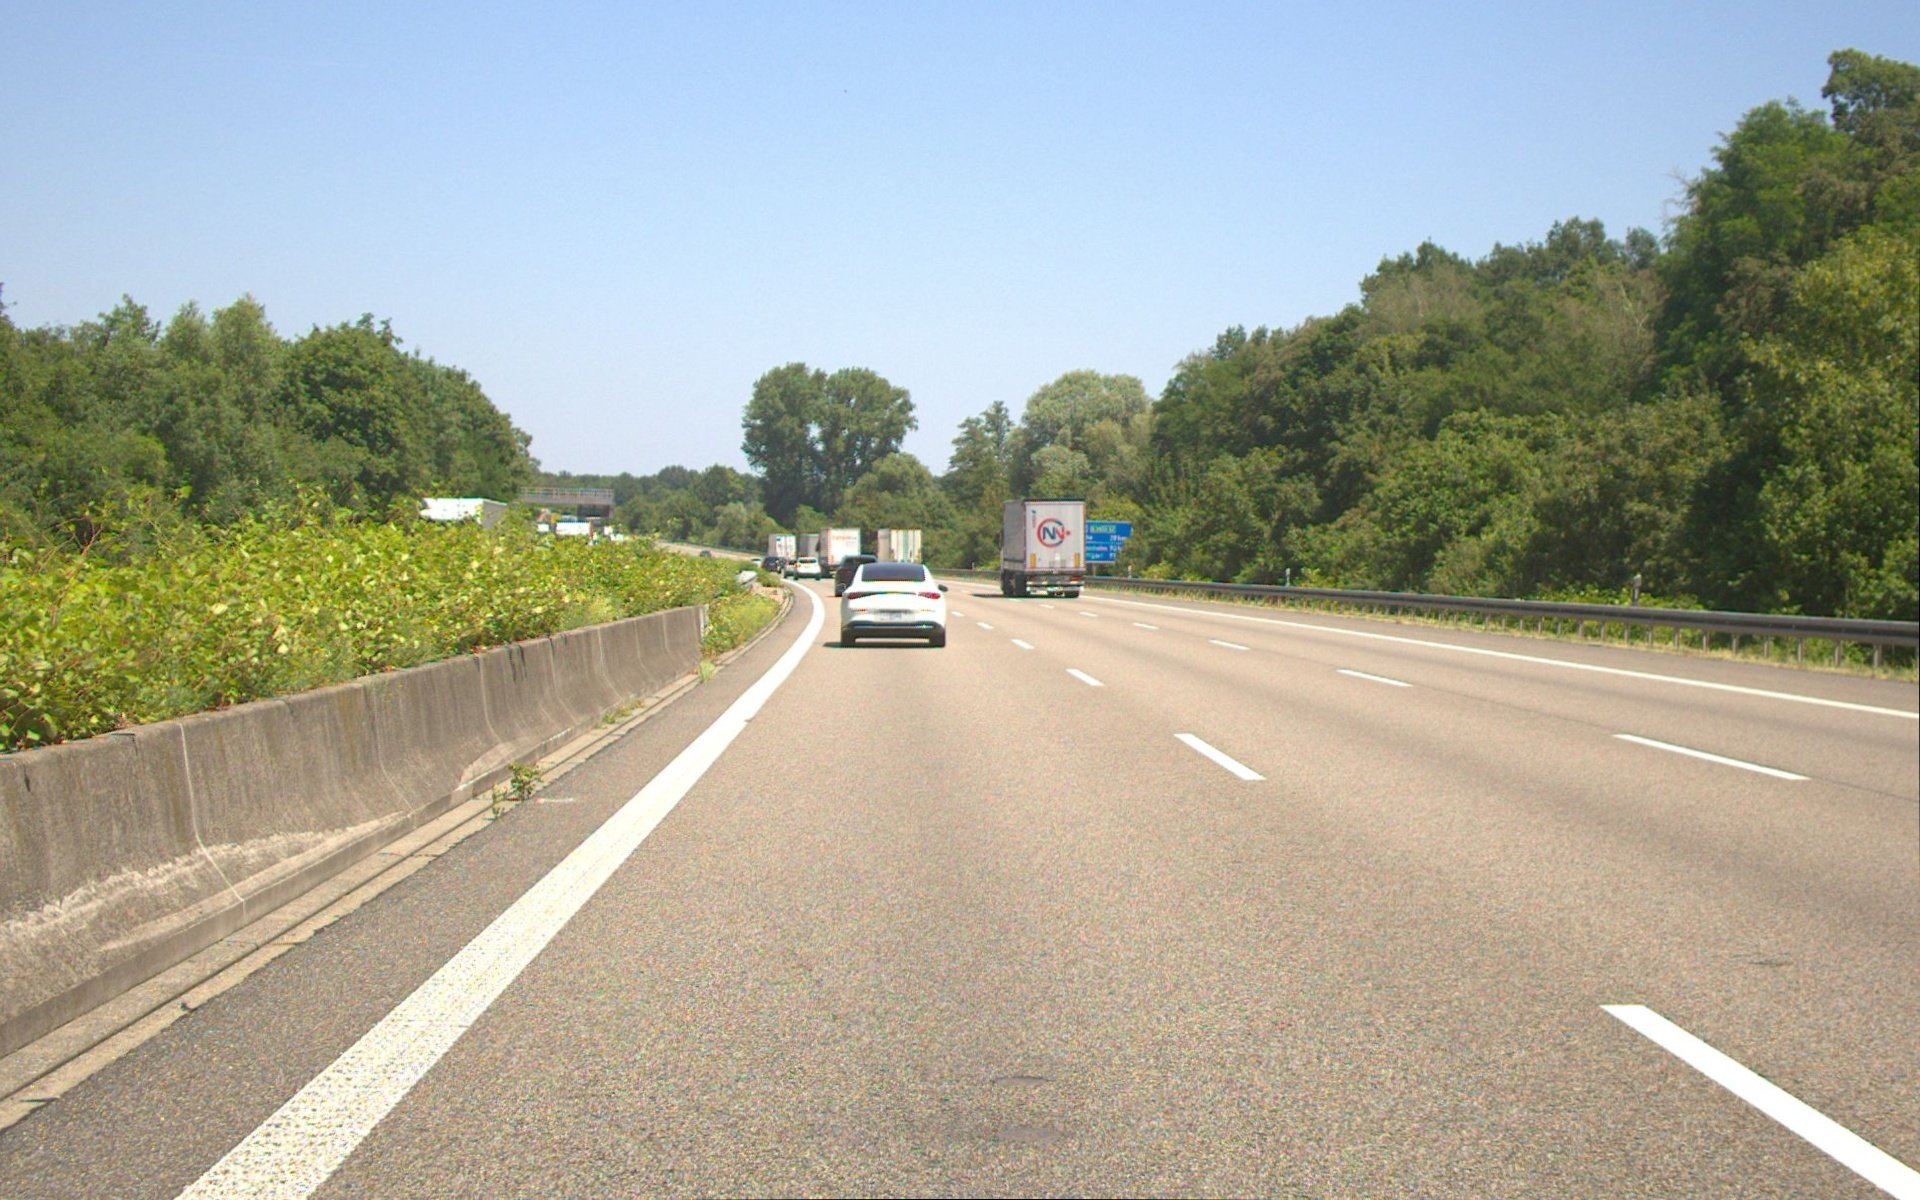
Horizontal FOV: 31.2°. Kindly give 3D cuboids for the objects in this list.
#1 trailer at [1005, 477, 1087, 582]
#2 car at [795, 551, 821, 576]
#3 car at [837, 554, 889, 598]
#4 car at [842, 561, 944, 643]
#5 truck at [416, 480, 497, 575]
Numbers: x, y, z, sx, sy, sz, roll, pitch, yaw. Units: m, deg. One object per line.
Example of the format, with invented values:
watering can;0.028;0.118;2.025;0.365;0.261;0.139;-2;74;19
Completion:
trailer;3.585;-2.985;147.345;2.624;4.246;14.062;1;1;-2
car;-11.051;-2.652;250.061;1.723;1.777;4.000;1;1;0
car;-4.037;-1.015;142.440;1.993;1.766;4.001;0;1;-3
car;-1.148;0.008;59.984;1.715;1.365;3.375;1;1;0
truck;-21.820;-3.130;149.372;2.660;3.971;6.555;1;1;-1
